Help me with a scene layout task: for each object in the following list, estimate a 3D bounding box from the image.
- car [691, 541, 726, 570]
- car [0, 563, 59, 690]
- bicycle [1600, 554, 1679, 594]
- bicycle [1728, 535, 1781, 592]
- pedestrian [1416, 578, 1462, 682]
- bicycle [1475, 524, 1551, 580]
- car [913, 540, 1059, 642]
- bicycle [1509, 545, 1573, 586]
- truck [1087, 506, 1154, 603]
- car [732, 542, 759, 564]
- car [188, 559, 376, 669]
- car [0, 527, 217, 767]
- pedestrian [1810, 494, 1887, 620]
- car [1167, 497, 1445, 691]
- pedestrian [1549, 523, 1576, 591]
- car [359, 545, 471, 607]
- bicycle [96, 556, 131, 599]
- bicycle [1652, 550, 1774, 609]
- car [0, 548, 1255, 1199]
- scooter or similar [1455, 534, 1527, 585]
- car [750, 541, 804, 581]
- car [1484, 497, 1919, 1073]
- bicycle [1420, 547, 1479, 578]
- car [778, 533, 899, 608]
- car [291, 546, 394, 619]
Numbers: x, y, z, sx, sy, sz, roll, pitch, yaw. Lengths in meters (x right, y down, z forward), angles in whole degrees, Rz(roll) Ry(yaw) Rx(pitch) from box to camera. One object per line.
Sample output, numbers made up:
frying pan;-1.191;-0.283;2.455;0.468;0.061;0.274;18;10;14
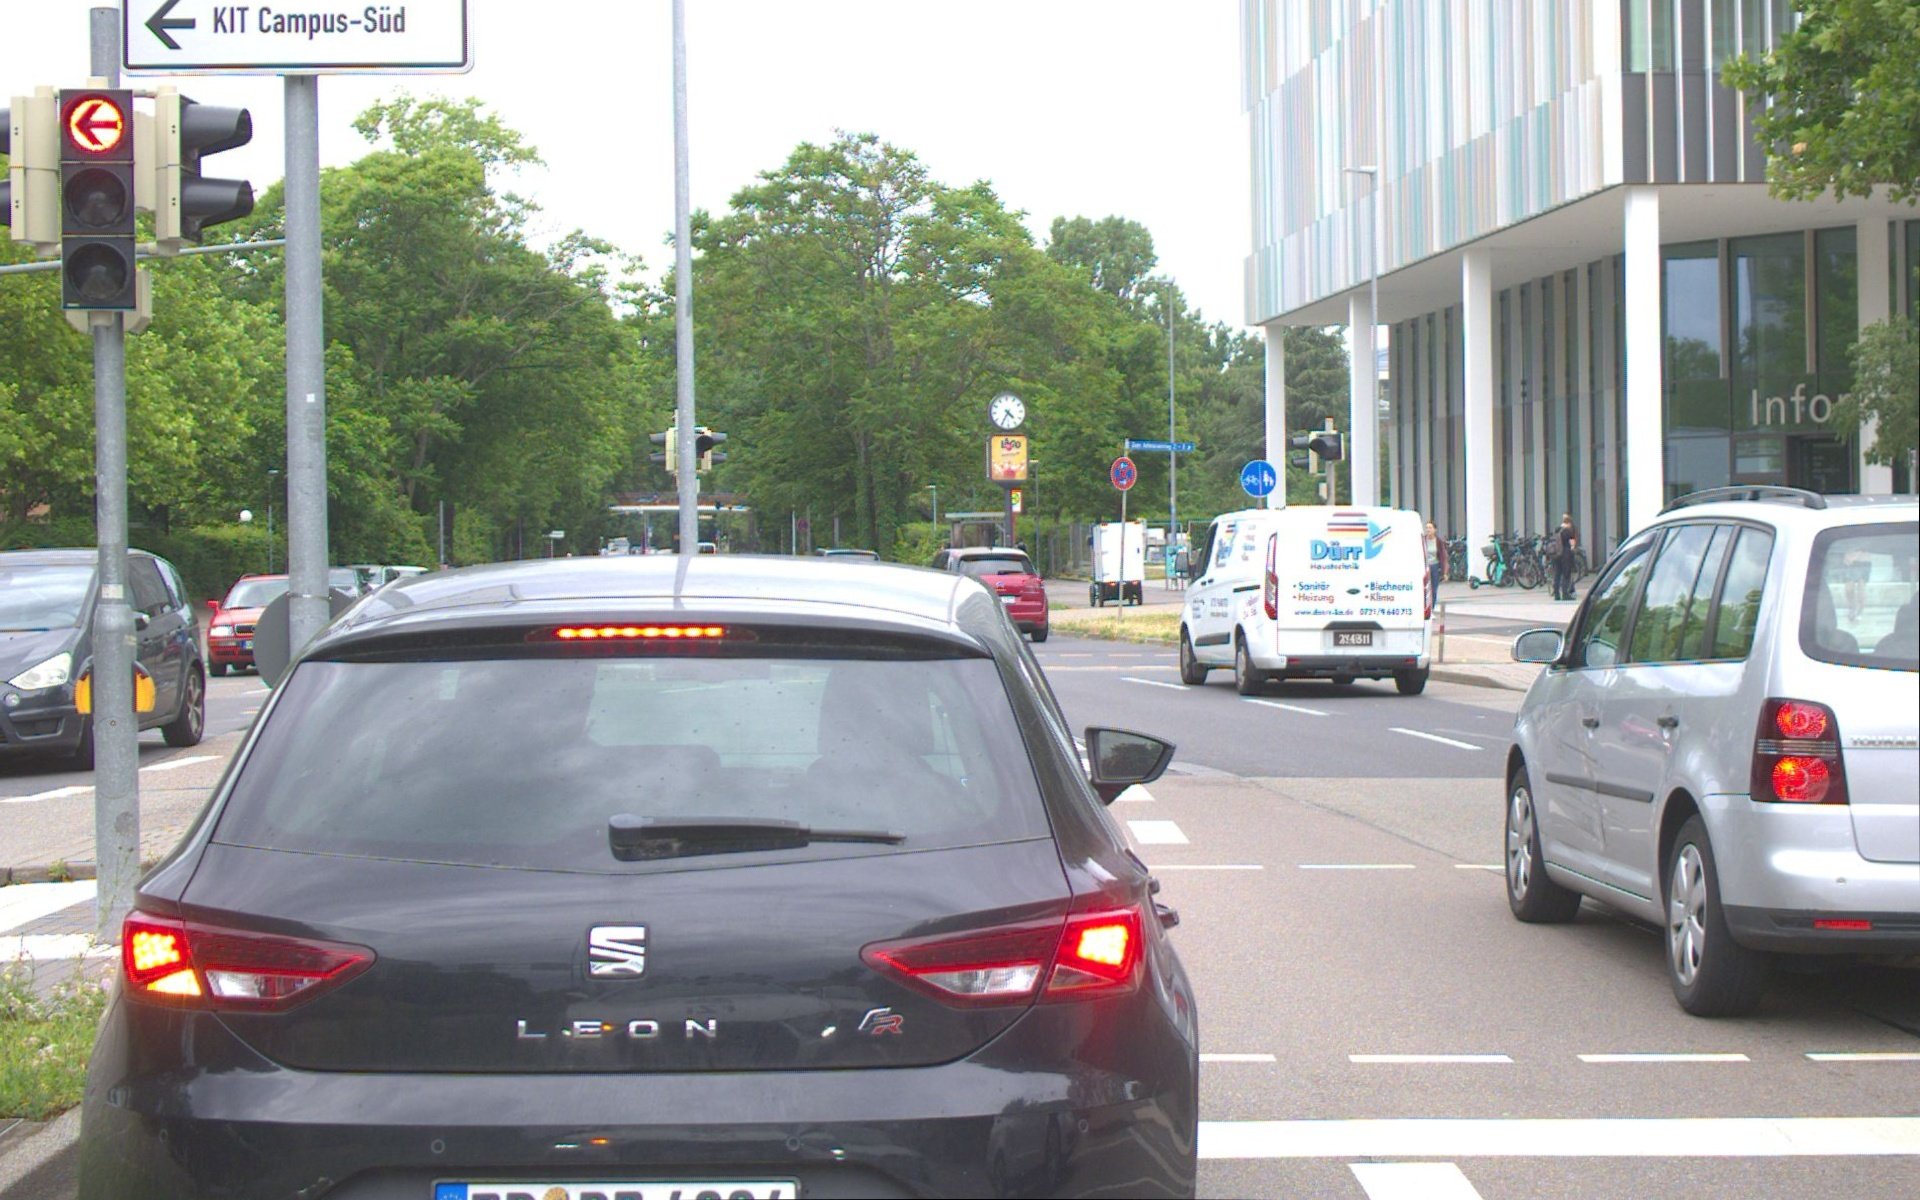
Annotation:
car;-14.045;-2.482;191.757;1.695;1.498;4.011;-2;2;-7
car;-11.971;0.371;39.042;1.705;1.426;4.226;-2;2;10
bicycle;13.960;-0.539;70.610;1.479;0.746;0.566;-2;1;-4
bicycle;15.741;-0.727;68.124;0.620;1.042;1.703;-1;2;26
pedestrian;8.237;0.510;59.151;0.687;1.775;0.677;0;1;-1
bicycle;12.651;-1.102;78.667;1.772;1.207;0.570;-3;2;-34
car;0.406;-0.177;58.530;1.948;1.618;3.750;0;2;-8
bicycle;13.013;-0.778;76.965;1.438;0.855;0.365;-3;2;-27
truck;3.814;-1.111;82.024;1.317;2.235;3.402;-2;2;-1
car;-12.410;-2.739;198.622;1.505;1.189;3.164;-2;2;-4
car;-9.755;0.170;49.771;1.714;1.413;4.294;-2;2;2
car;-7.146;0.328;26.322;1.921;1.659;4.399;-3;1;0
pedestrian;12.766;-0.623;49.420;0.847;1.759;0.768;-2;1;-1
car;3.671;-0.113;37.336;1.966;1.965;4.345;1;1;-8
pedestrian;12.207;-0.871;69.658;0.472;1.357;0.445;-2;1;10
car;-15.547;-0.706;98.196;1.759;1.582;3.998;-2;2;12
bicycle;-20.670;-0.551;83.985;0.488;1.002;1.590;1;2;-1
bicycle;12.520;-0.347;57.138;1.886;0.895;0.697;-3;2;-21
car;-0.433;0.640;6.483;1.753;1.427;3.769;1;1;2
scooter or similar;12.238;-0.943;79.248;1.671;1.103;0.499;-3;2;-32
car;-6.892;-1.474;129.317;1.898;1.349;3.883;-2;2;-4
car;3.017;0.473;11.614;1.729;1.597;4.106;0;1;-2
bicycle;12.093;-0.920;84.963;1.374;0.703;0.416;-2;1;3
car;-2.893;-0.720;81.028;1.914;1.658;4.116;-3;2;-15
car;-15.735;-0.471;87.777;1.906;1.711;4.000;-2;2;-1
